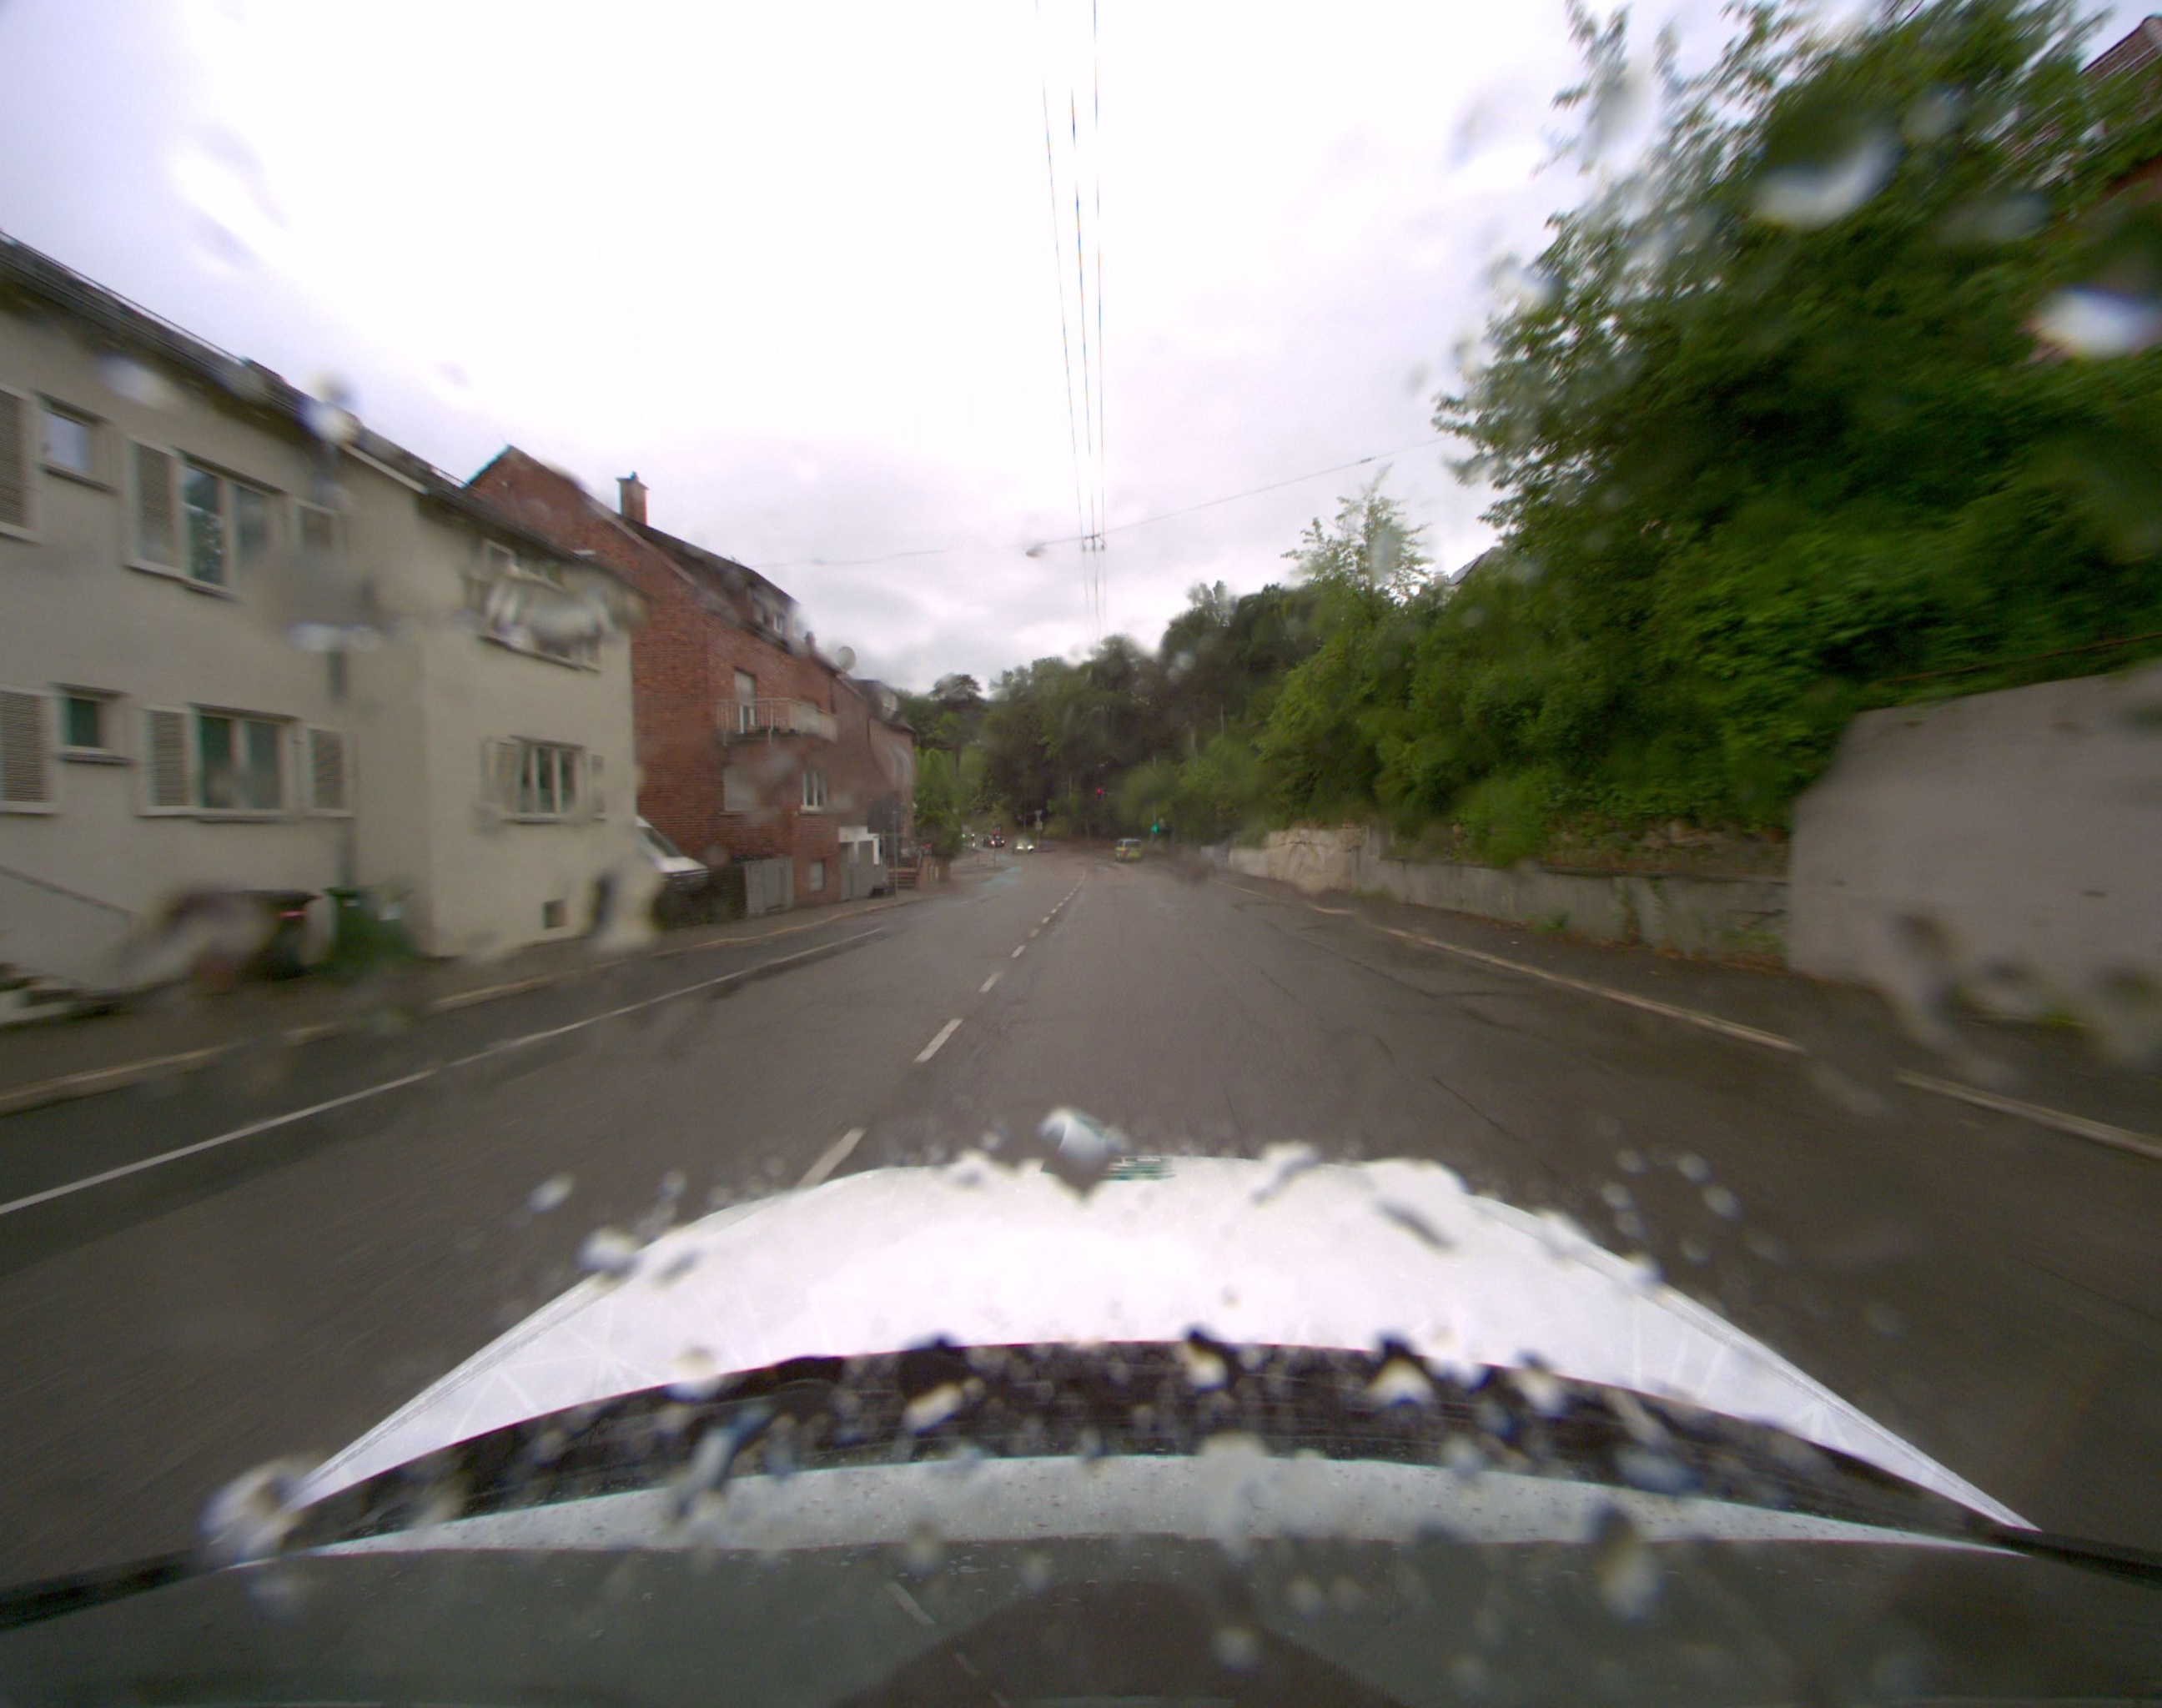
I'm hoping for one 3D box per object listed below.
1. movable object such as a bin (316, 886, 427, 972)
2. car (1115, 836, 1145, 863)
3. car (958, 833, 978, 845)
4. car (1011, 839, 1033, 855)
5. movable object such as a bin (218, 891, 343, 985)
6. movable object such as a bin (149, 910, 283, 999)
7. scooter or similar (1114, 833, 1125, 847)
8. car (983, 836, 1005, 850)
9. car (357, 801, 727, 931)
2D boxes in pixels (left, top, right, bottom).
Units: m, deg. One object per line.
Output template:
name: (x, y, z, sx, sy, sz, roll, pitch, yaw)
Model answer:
movable object such as a bin: (-9.144, 0.950, 10.530, 0.778, 1.047, 0.738, -1, 0, 2)
car: (4.227, -0.414, 70.534, 2.300, 1.938, 4.328, -4, 4, 2)
car: (-15.440, -2.046, 111.197, 1.748, 1.549, 3.973, -5, 3, -20)
car: (-6.442, -0.781, 88.648, 1.742, 1.549, 3.985, -5, 3, -11)
movable object such as a bin: (-9.535, 0.985, 9.725, 0.778, 1.047, 0.709, -1, 0, 2)
movable object such as a bin: (-9.224, 1.059, 8.713, 0.670, 0.859, 0.709, -1, 0, 2)
scooter or similar: (4.191, -1.513, 88.922, 0.617, 1.421, 2.150, -4, 5, -13)
car: (-10.714, -1.356, 100.093, 1.746, 1.549, 3.977, -5, 3, -17)
car: (-11.503, 0.271, 17.725, 6.628, 2.554, 2.169, -1, -2, 2)
